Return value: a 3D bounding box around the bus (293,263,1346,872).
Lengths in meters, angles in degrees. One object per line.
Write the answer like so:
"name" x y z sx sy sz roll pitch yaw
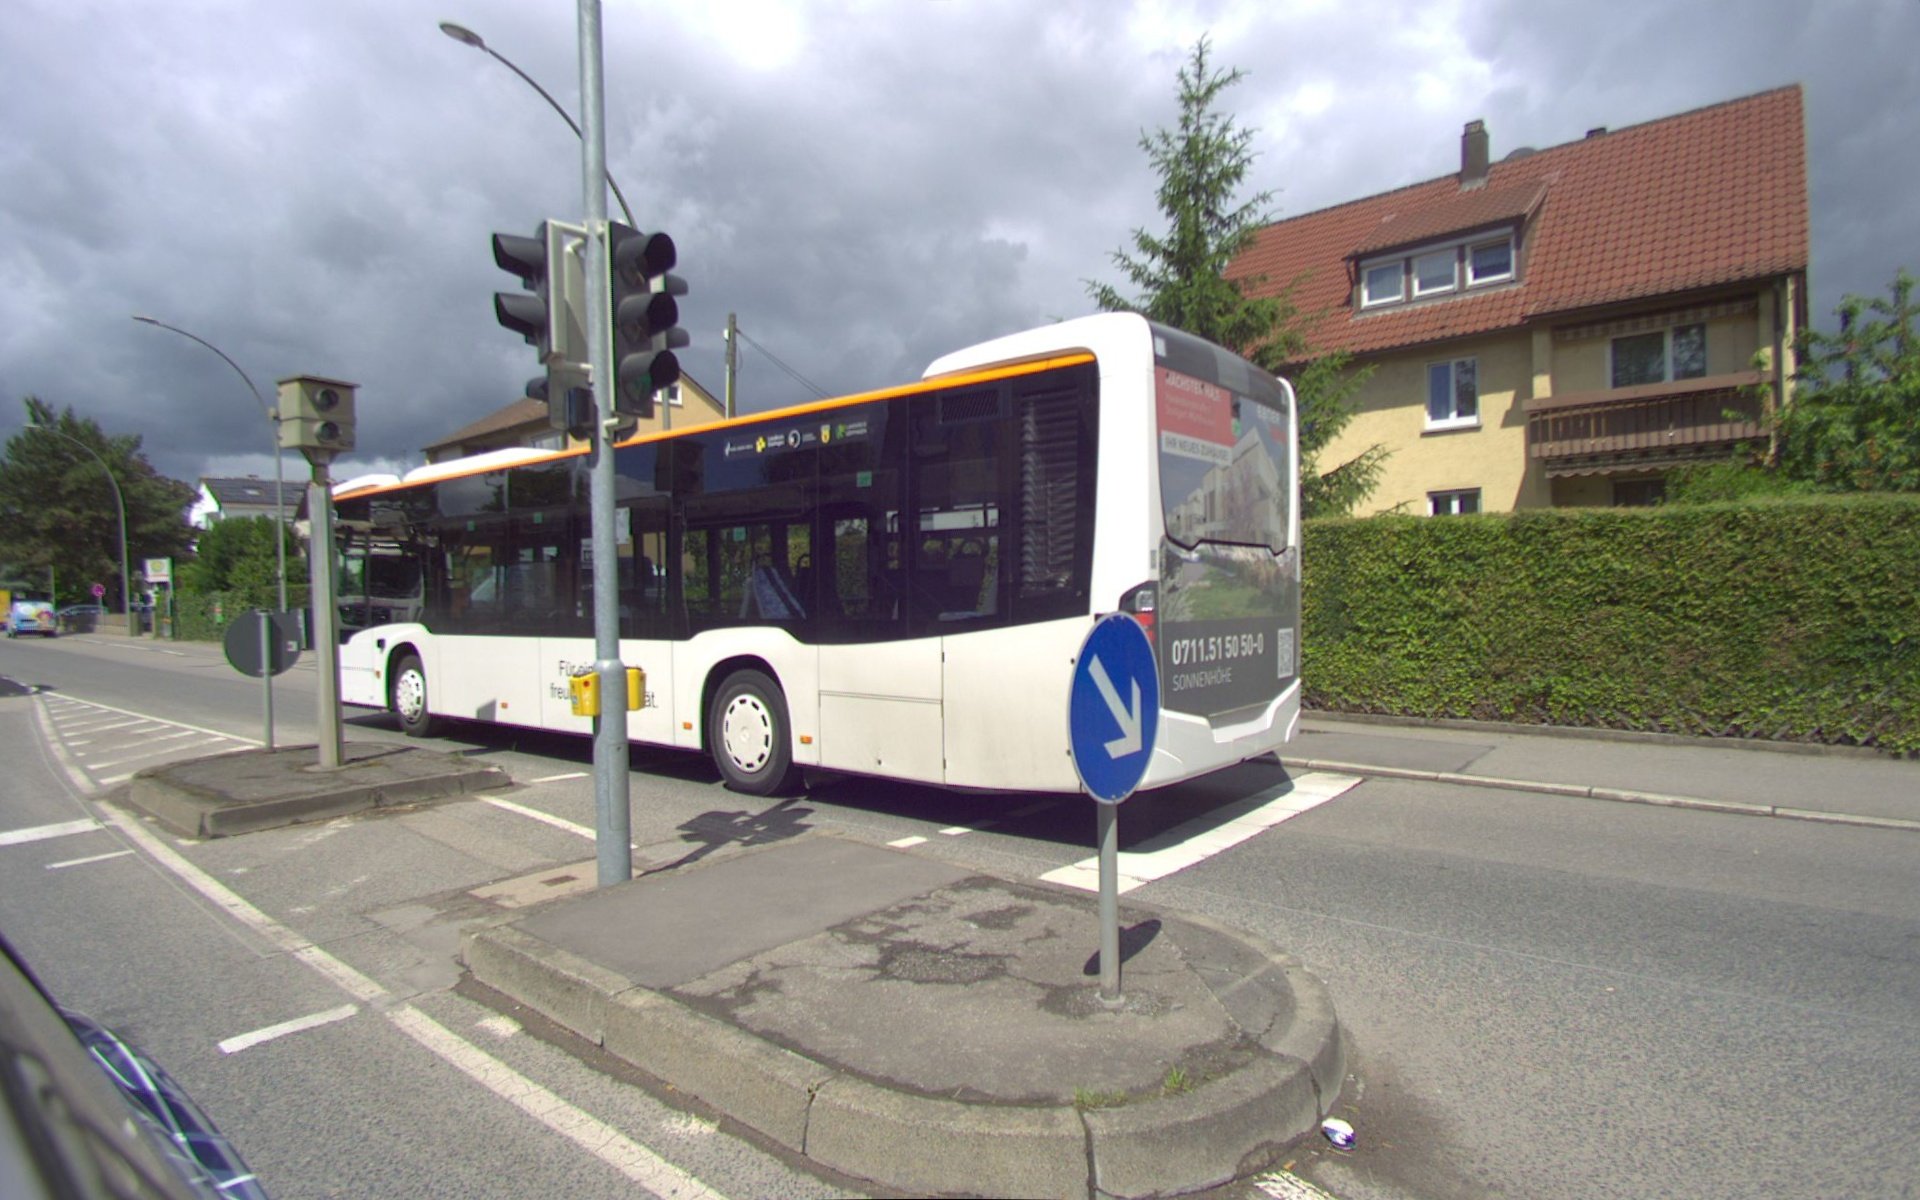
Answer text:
"bus" -2.850 -0.147 10.004 12.252 3.053 2.692 0 0 39

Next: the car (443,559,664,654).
"car" -11.215 0.103 28.228 2.105 2.402 5.291 0 1 45

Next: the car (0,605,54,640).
"car" -48.663 1.136 52.692 3.998 1.693 1.707 0 1 41

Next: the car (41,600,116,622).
"car" -77.090 0.924 88.518 2.217 1.691 4.674 0 1 41

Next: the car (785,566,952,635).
"car" -2.318 -0.008 25.062 4.001 1.560 1.972 0 1 43

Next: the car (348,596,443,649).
"car" -17.831 0.663 31.855 1.860 1.470 4.358 -3 2 -39

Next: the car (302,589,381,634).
"car" -24.690 0.421 40.393 3.523 1.678 1.806 0 1 43
